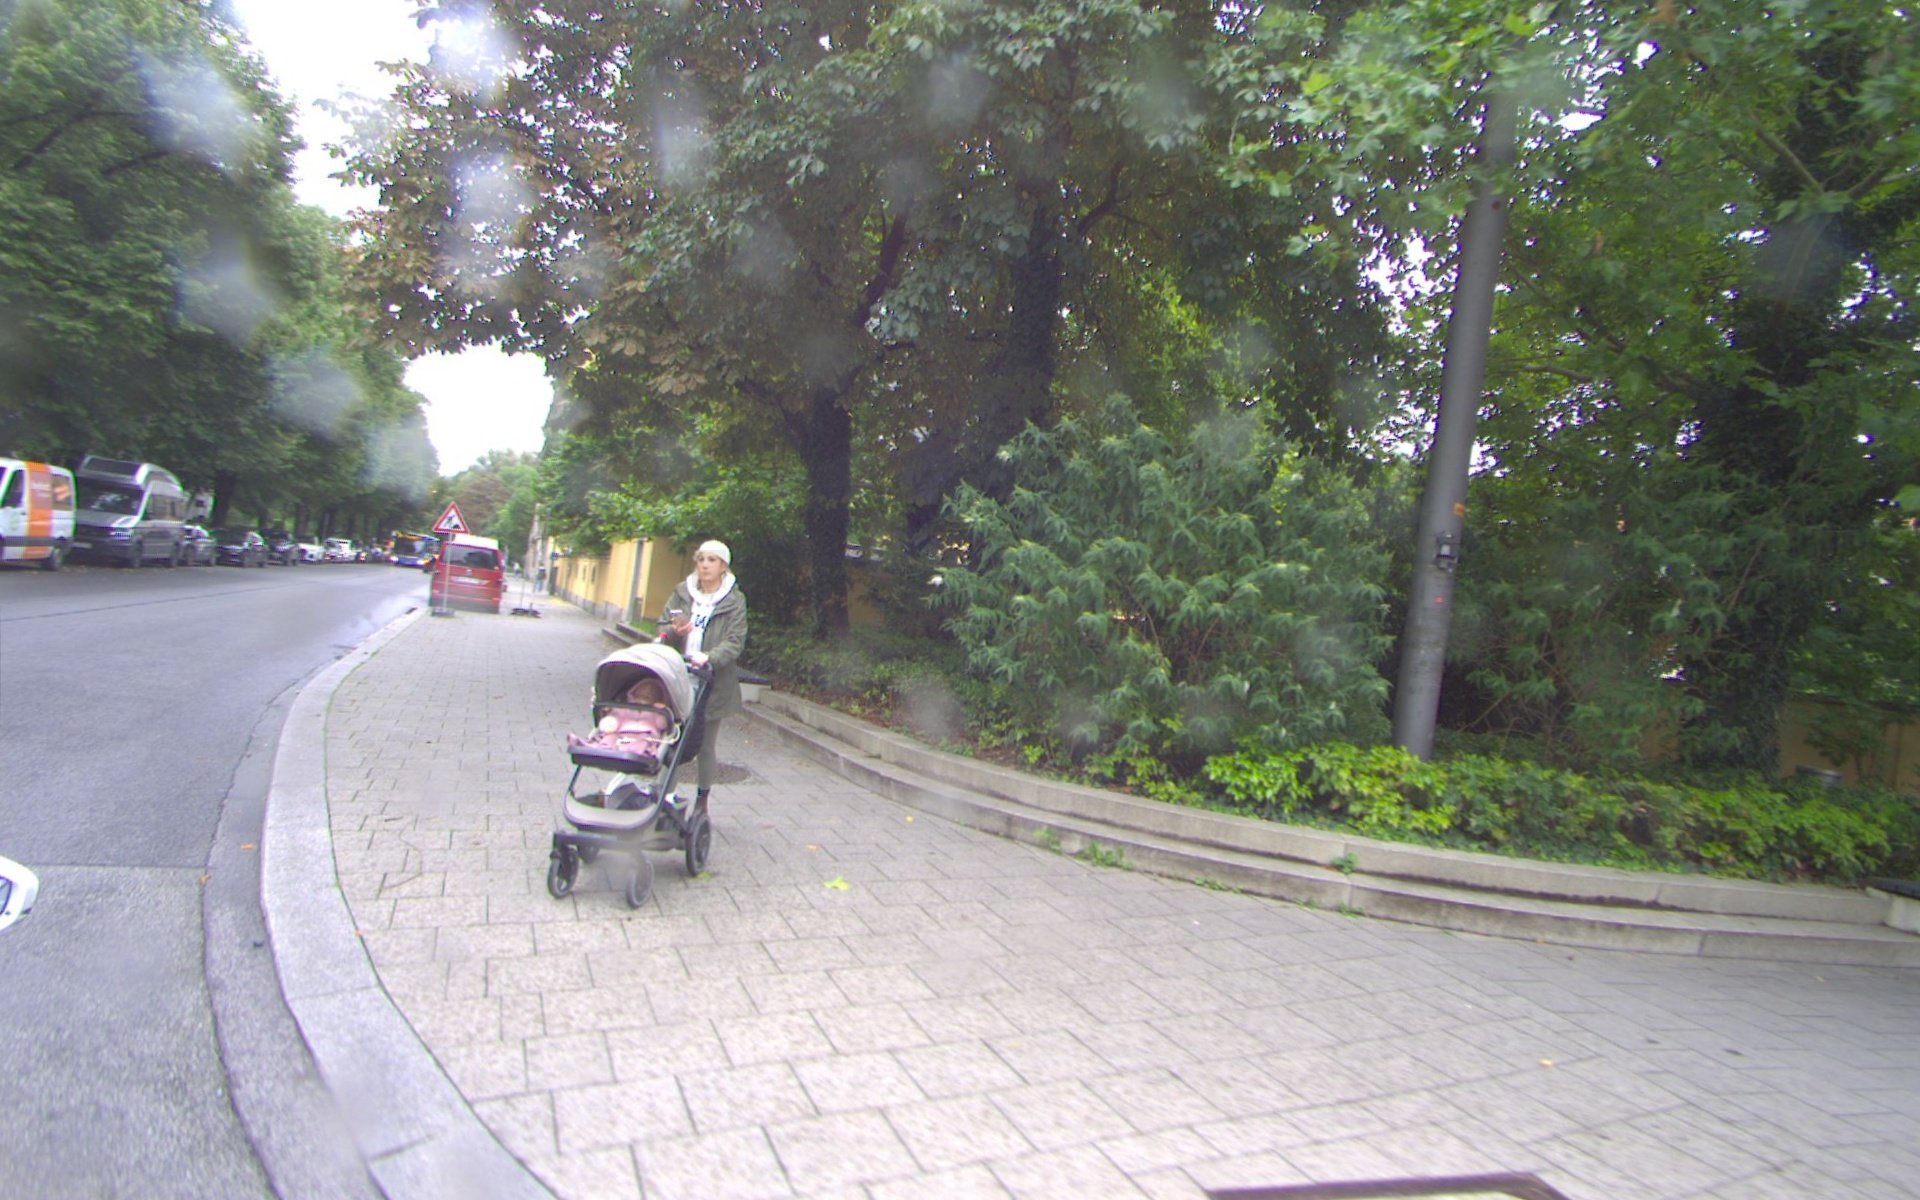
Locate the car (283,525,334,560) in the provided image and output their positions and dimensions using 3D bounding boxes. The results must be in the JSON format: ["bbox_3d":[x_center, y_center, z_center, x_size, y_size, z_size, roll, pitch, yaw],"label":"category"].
[{"bbox_3d":[-36.752,-3.204,56.860,1.769,1.616,4.554,8,-2,-27],"label":"car"}]

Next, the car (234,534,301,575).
[{"bbox_3d":[-30.661,-1.975,44.663,1.775,1.470,3.924,8,-2,-27],"label":"car"}]

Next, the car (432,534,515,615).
[{"bbox_3d":[-14.594,-0.756,30.124,1.843,1.990,5.410,8,-2,-27],"label":"car"}]

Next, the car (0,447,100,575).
[{"bbox_3d":[-19.879,-1.838,20.521,2.097,2.375,5.374,8,-2,-27],"label":"car"}]

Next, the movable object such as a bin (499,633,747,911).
[{"bbox_3d":[-1.547,0.754,4.772,0.763,1.098,0.900,5,1,2],"label":"movable object such as a bin"}]

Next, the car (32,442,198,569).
[{"bbox_3d":[-23.515,-2.461,28.317,1.929,2.887,6.196,8,-2,-27],"label":"car"}]

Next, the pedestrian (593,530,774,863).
[{"bbox_3d":[-1.482,0.492,5.530,0.582,1.640,0.863,5,1,3],"label":"pedestrian"}]

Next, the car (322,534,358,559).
[{"bbox_3d":[-43.725,-3.770,71.042,1.658,1.486,4.077,8,-2,-27],"label":"car"}]

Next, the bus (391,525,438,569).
[{"bbox_3d":[-51.256,-4.767,94.919,2.835,3.276,18.314,8,-2,-26],"label":"bus"}]

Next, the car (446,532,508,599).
[{"bbox_3d":[-21.422,-1.499,44.561,2.078,2.516,5.704,8,-2,-27],"label":"car"}]

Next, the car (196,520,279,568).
[{"bbox_3d":[-28.036,-2.119,39.162,1.775,1.454,4.522,8,-2,-27],"label":"car"}]

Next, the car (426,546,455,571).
[{"bbox_3d":[-38.898,-3.105,75.395,1.563,1.602,4.021,8,-1,-25],"label":"car"}]

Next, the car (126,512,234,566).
[{"bbox_3d":[-26.356,-2.038,34.156,1.774,1.455,4.550,8,0,-25],"label":"car"}]
